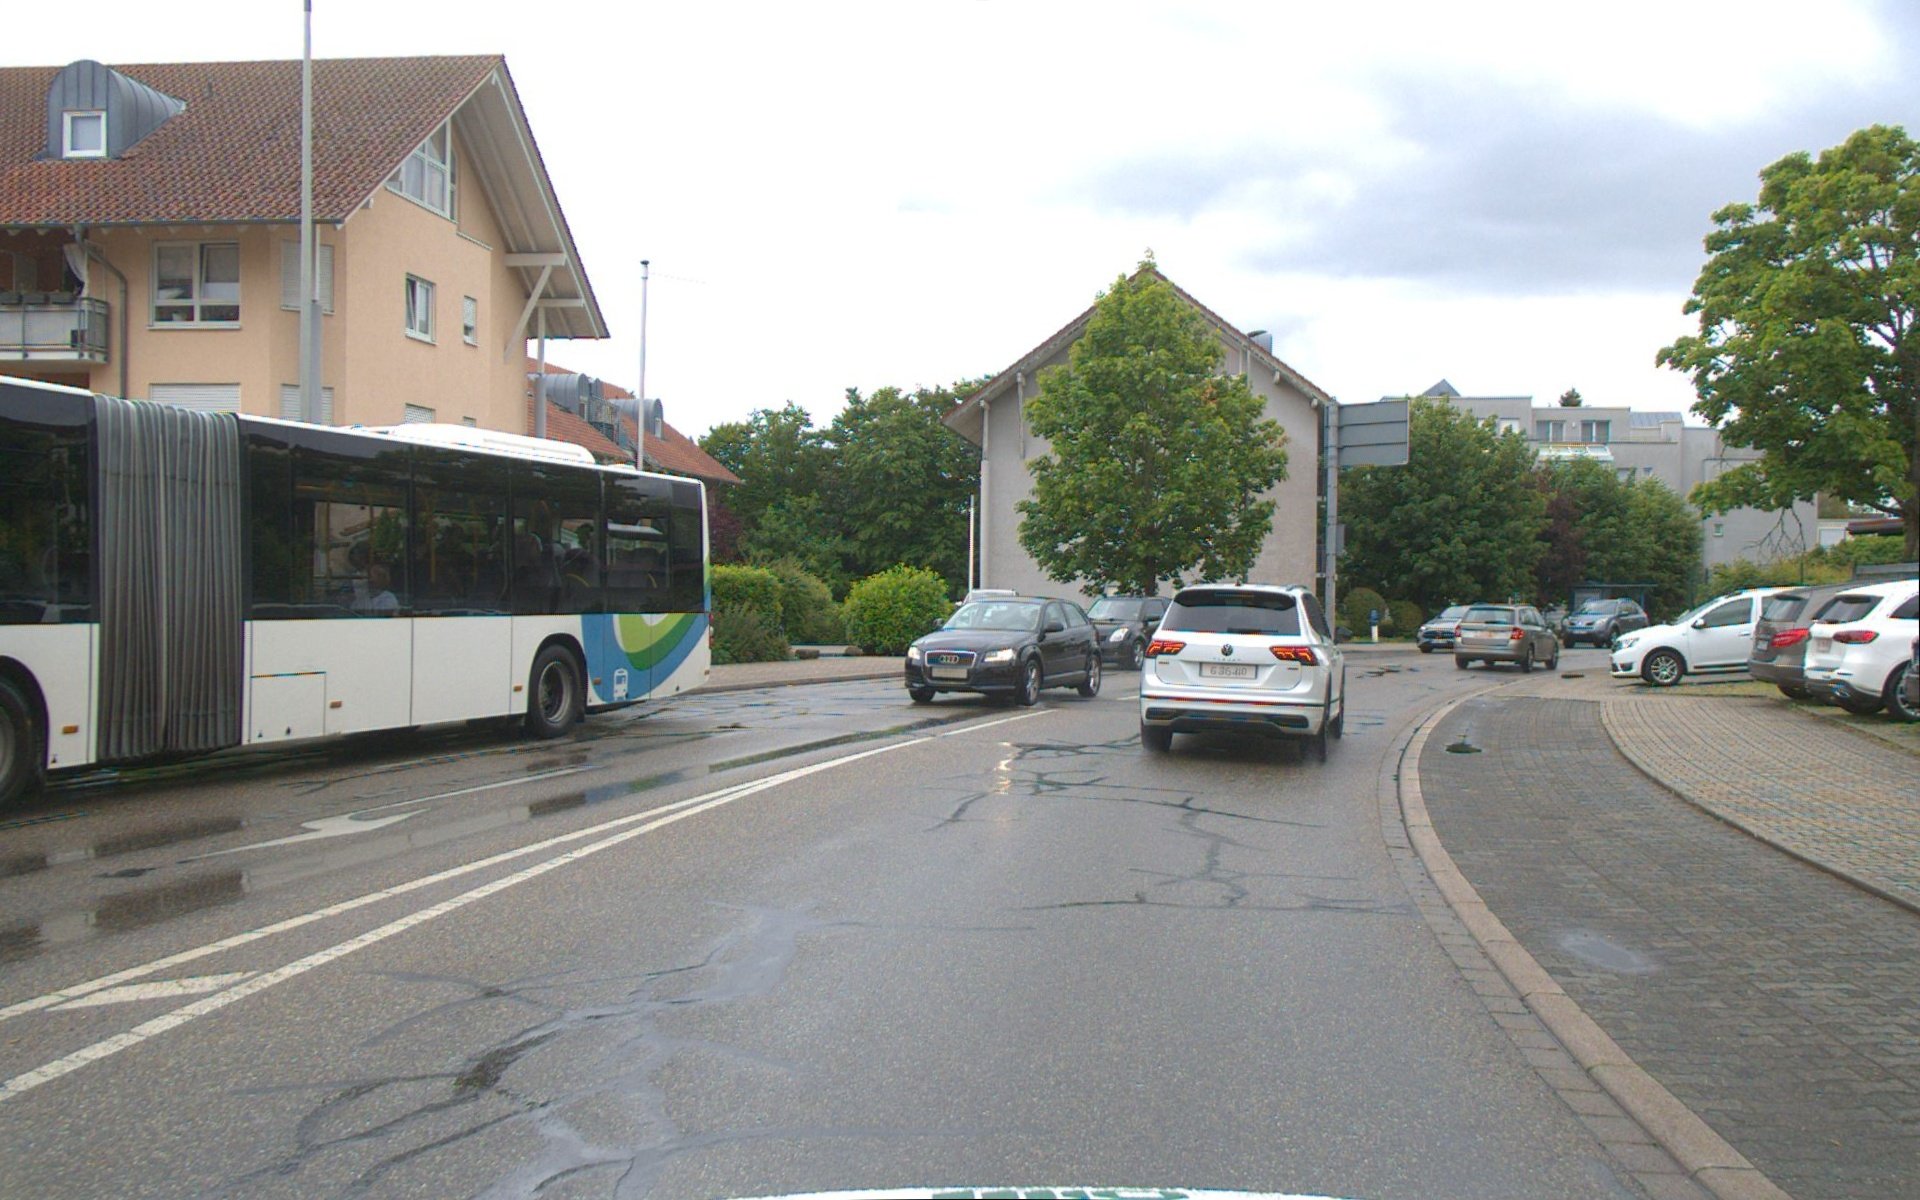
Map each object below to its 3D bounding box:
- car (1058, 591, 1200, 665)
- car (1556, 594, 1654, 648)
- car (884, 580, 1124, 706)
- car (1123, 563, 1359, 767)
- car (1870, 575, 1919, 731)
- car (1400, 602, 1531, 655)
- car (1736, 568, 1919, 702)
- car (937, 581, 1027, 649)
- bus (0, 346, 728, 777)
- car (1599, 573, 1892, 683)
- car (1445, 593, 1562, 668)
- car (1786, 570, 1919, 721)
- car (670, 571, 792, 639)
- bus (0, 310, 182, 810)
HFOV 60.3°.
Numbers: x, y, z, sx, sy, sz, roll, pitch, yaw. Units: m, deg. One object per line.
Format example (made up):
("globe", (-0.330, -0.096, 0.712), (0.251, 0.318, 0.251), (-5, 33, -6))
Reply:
("car", (3.579, 0.544, 34.564), (1.558, 1.447, 3.687), (0, 0, 31))
("car", (22.808, 0.694, 58.414), (1.874, 1.685, 4.242), (2, 3, 41))
("car", (0.732, 0.535, 23.049), (1.823, 1.545, 4.290), (1, 0, 24))
("car", (3.042, 0.560, 17.140), (1.880, 1.752, 4.268), (3, 1, 16))
("car", (11.378, 0.415, 16.115), (3.958, 1.516, 1.906), (-3, -1, 14))
("car", (15.121, 0.812, 49.342), (1.876, 1.415, 4.457), (3, 2, 45))
("car", (12.634, 0.391, 21.787), (3.958, 1.624, 1.906), (-3, -1, 11))
("car", (0.643, 0.439, 44.388), (1.951, 1.680, 4.002), (2, -2, 7))
("bus", (-5.331, -0.298, 16.106), (2.531, 3.052, 8.409), (-1, 0, 19))
("car", (13.313, 0.488, 28.299), (4.249, 1.624, 1.767), (-3, -1, 18))
("car", (12.446, 0.722, 37.757), (1.732, 1.536, 3.991), (1, -2, 30))
("car", (11.892, 0.420, 18.879), (3.958, 1.624, 1.897), (-3, -1, 9))
("car", (-6.182, 0.173, 45.077), (1.951, 1.680, 4.003), (2, -2, 13))
("bus", (-7.817, -0.205, 7.468), (2.492, 3.052, 9.212), (-1, 0, 14))
